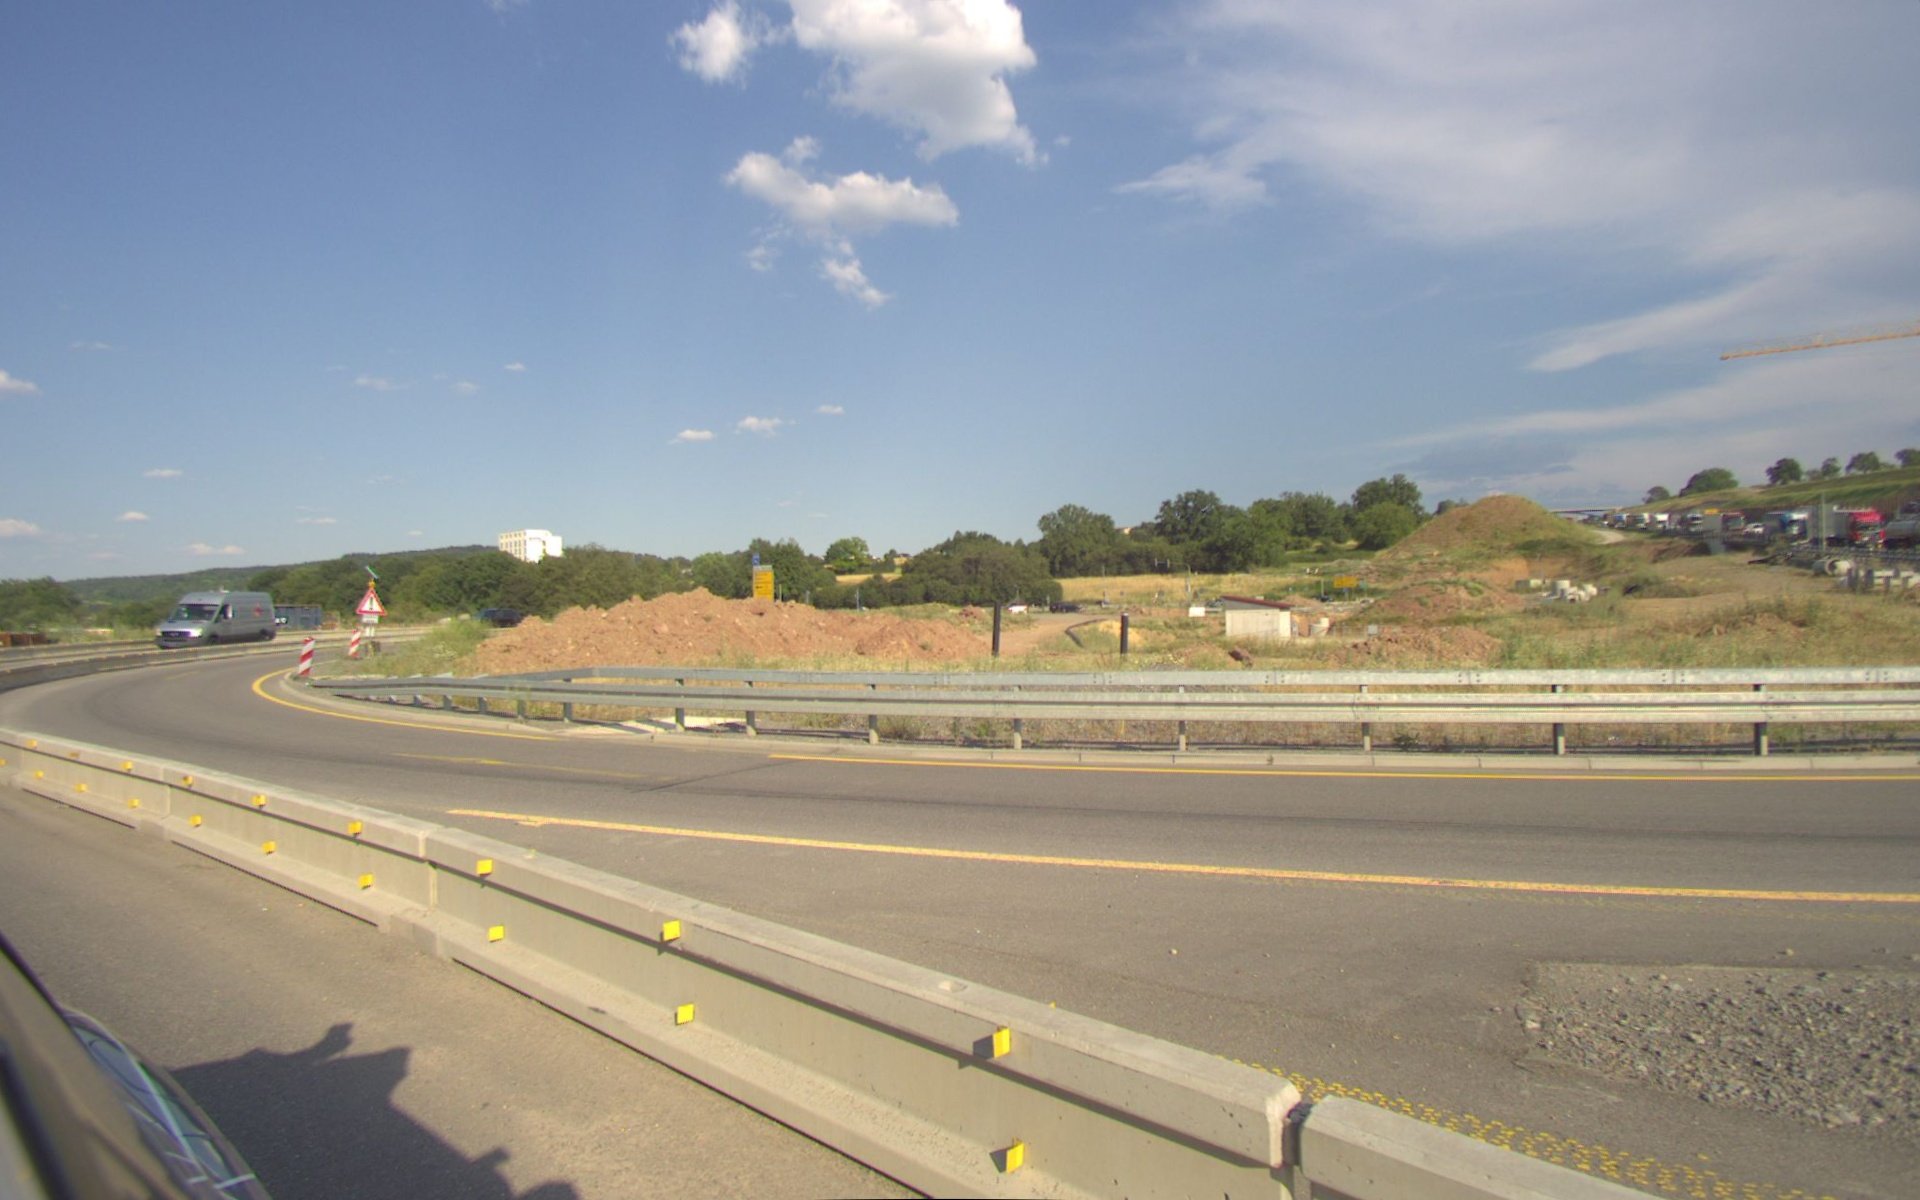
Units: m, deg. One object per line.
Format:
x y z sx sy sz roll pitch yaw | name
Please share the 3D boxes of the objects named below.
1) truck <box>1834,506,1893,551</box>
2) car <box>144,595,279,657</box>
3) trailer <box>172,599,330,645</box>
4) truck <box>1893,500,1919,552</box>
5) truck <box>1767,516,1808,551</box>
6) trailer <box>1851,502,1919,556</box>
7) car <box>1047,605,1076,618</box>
98.719 -7.706 110.738 3.098 4.346 6.833 -1 0 27 | truck
-32.690 1.093 44.485 1.889 2.520 5.801 -1 0 -3 | car
-40.730 1.218 58.465 2.988 2.432 7.187 -2 0 17 | trailer
87.710 -6.738 91.522 3.098 4.346 6.833 -1 0 27 | truck
108.730 -8.615 133.053 2.512 4.031 8.471 -1 0 28 | truck
91.044 -6.784 98.313 3.098 4.346 14.122 -1 0 27 | trailer
12.639 1.386 126.136 1.711 1.530 4.464 1 0 33 | car
